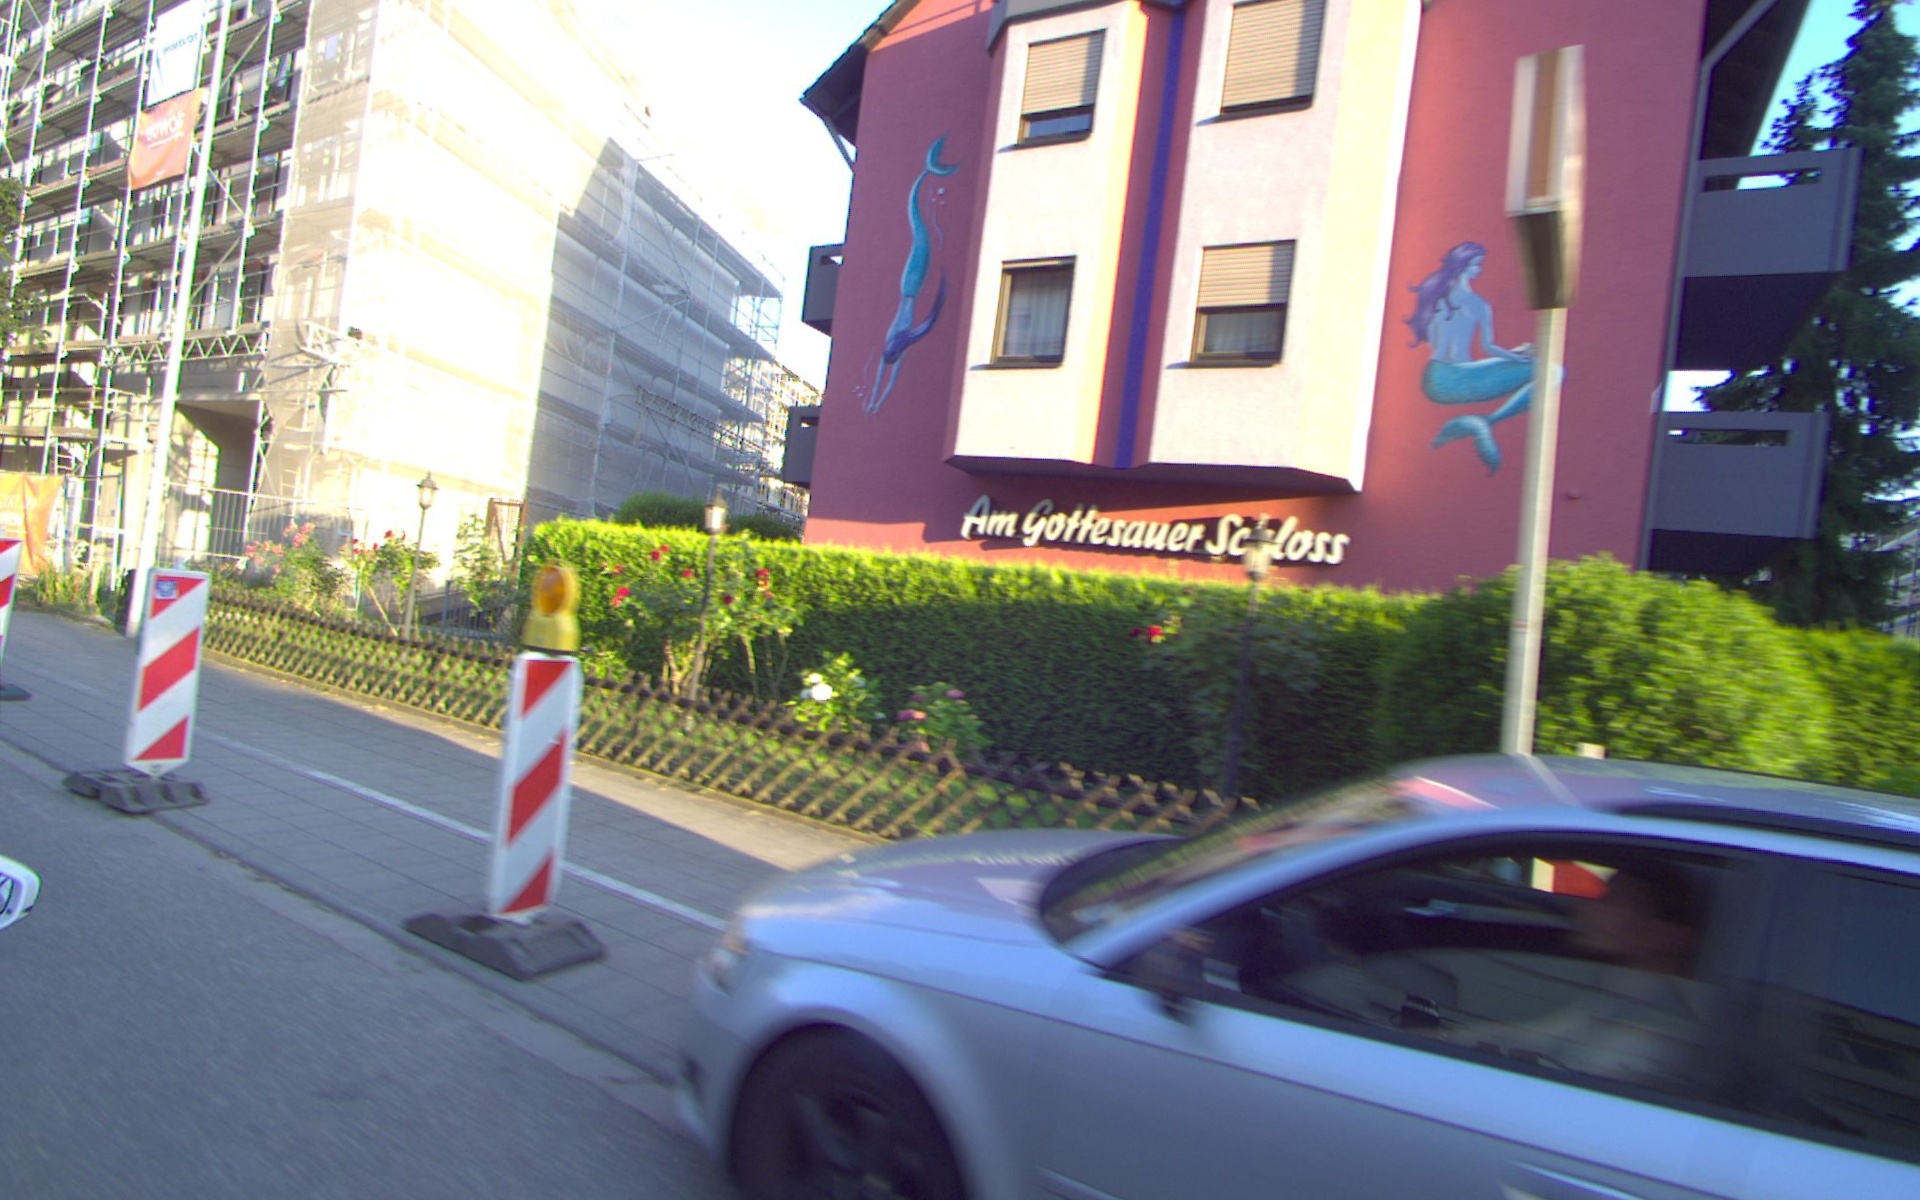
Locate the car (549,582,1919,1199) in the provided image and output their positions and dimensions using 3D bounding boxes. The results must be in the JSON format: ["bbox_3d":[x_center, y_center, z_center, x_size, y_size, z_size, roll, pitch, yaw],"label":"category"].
[{"bbox_3d":[1.151,0.935,2.363,4.039,1.413,1.779,7,-1,32],"label":"car"}]
